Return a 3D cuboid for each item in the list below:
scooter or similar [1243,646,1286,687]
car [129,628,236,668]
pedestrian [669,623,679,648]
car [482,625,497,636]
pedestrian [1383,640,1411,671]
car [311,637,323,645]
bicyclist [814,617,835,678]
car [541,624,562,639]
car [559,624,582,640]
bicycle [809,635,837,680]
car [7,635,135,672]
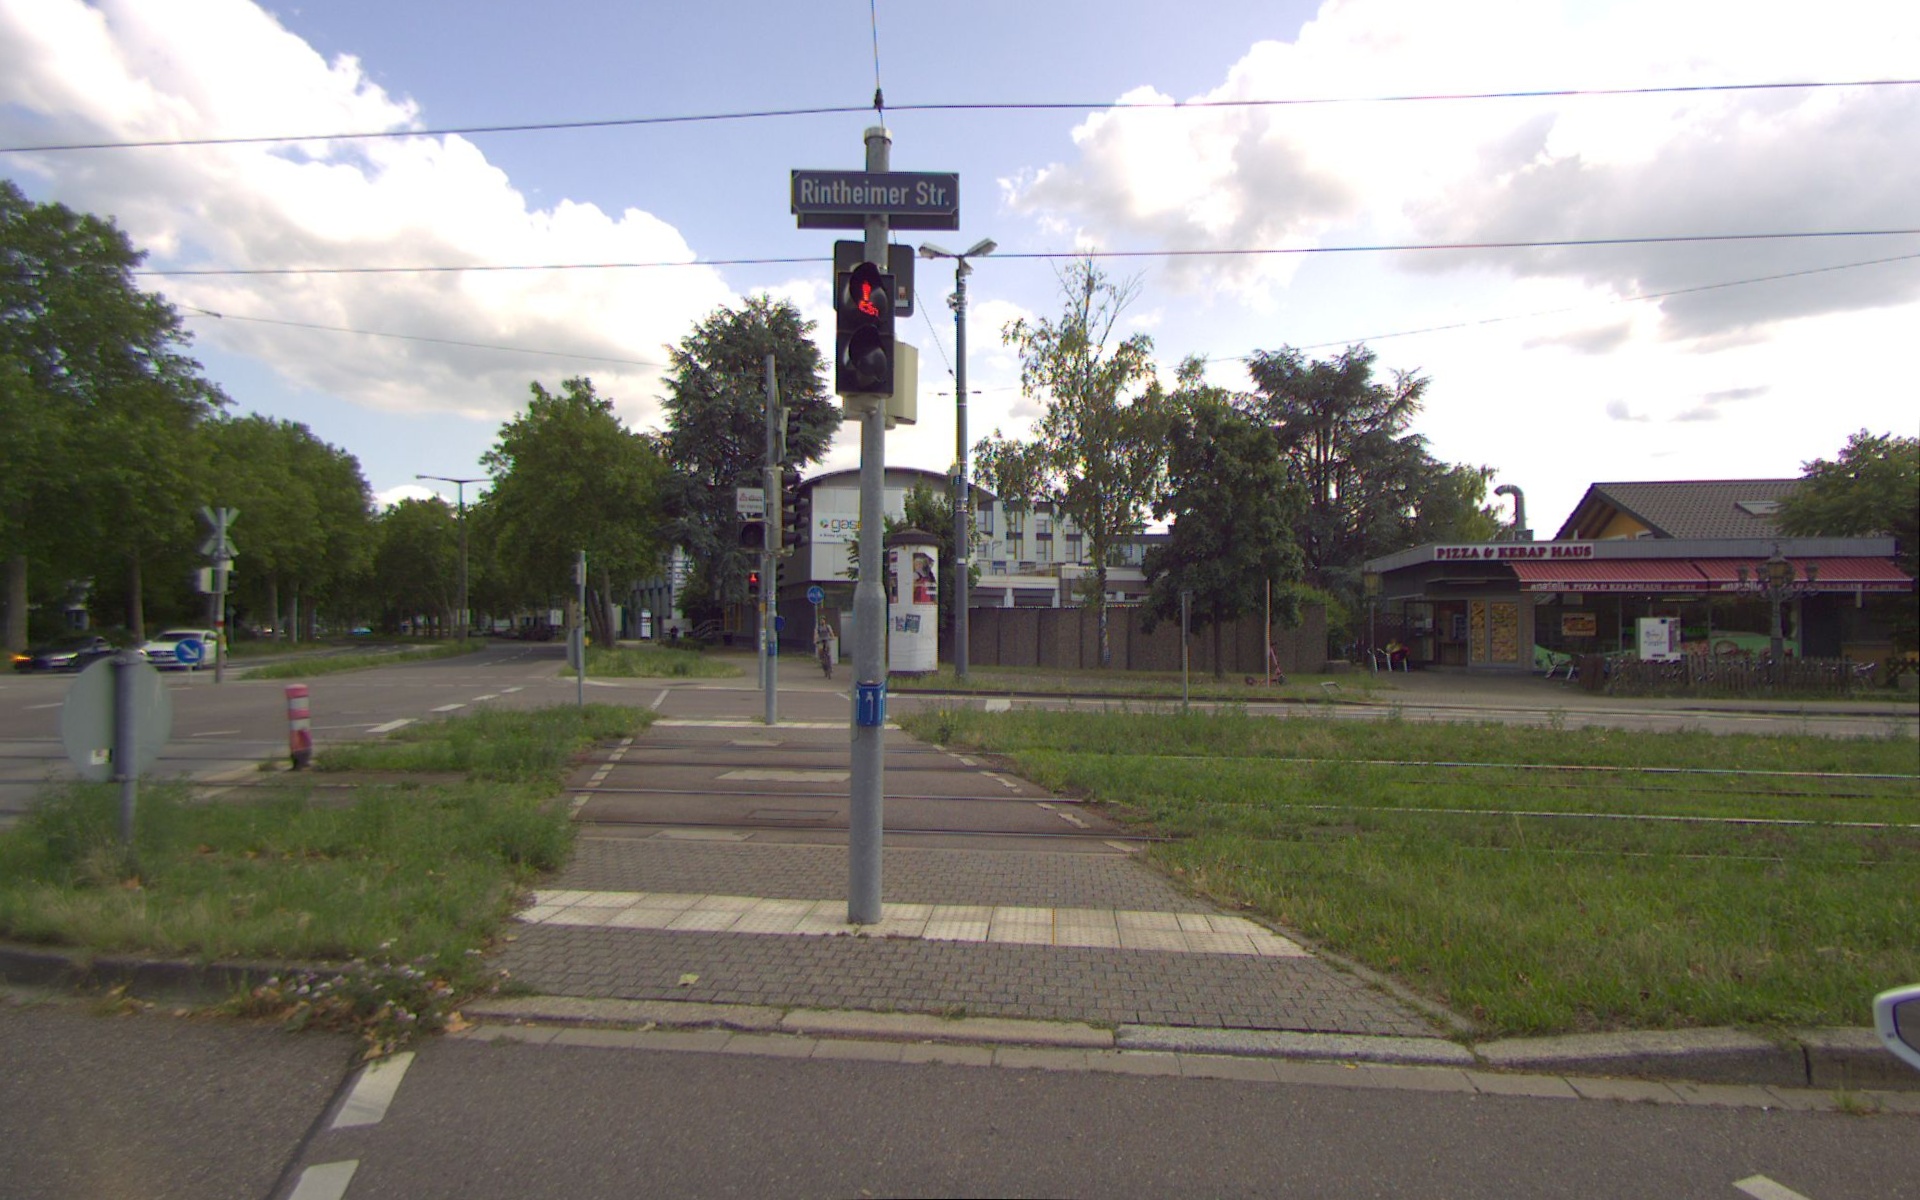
[{"bbox_3d":[8.535,1.861,28.132,1.084,1.073,0.401,1,1,26],"label":"scooter or similar"},{"bbox_3d":[-28.439,1.726,36.879,1.802,1.382,4.121,1,-2,-18],"label":"car"},{"bbox_3d":[-18.572,2.281,65.284,0.612,1.590,0.557,1,1,-17],"label":"pedestrian"},{"bbox_3d":[-75.313,4.936,160.875,1.975,1.595,3.970,1,0,-28],"label":"car"},{"bbox_3d":[14.150,1.801,32.542,0.712,0.941,0.777,1,1,16],"label":"pedestrian"},{"bbox_3d":[-102.953,6.595,160.779,1.622,1.207,3.676,1,-2,-32],"label":"car"},{"bbox_3d":[-4.168,1.444,30.831,0.530,1.834,0.545,1,1,1],"label":"bicyclist"},{"bbox_3d":[-49.036,3.804,120.552,1.975,1.595,3.970,1,0,-28],"label":"car"},{"bbox_3d":[-42.908,3.535,110.644,1.975,1.595,3.970,1,0,-28],"label":"car"},{"bbox_3d":[-4.175,1.736,30.770,0.530,1.252,1.952,1,0,2],"label":"bicycle"},{"bbox_3d":[-31.191,1.844,35.378,1.610,1.207,3.702,1,-2,-10],"label":"car"}]
